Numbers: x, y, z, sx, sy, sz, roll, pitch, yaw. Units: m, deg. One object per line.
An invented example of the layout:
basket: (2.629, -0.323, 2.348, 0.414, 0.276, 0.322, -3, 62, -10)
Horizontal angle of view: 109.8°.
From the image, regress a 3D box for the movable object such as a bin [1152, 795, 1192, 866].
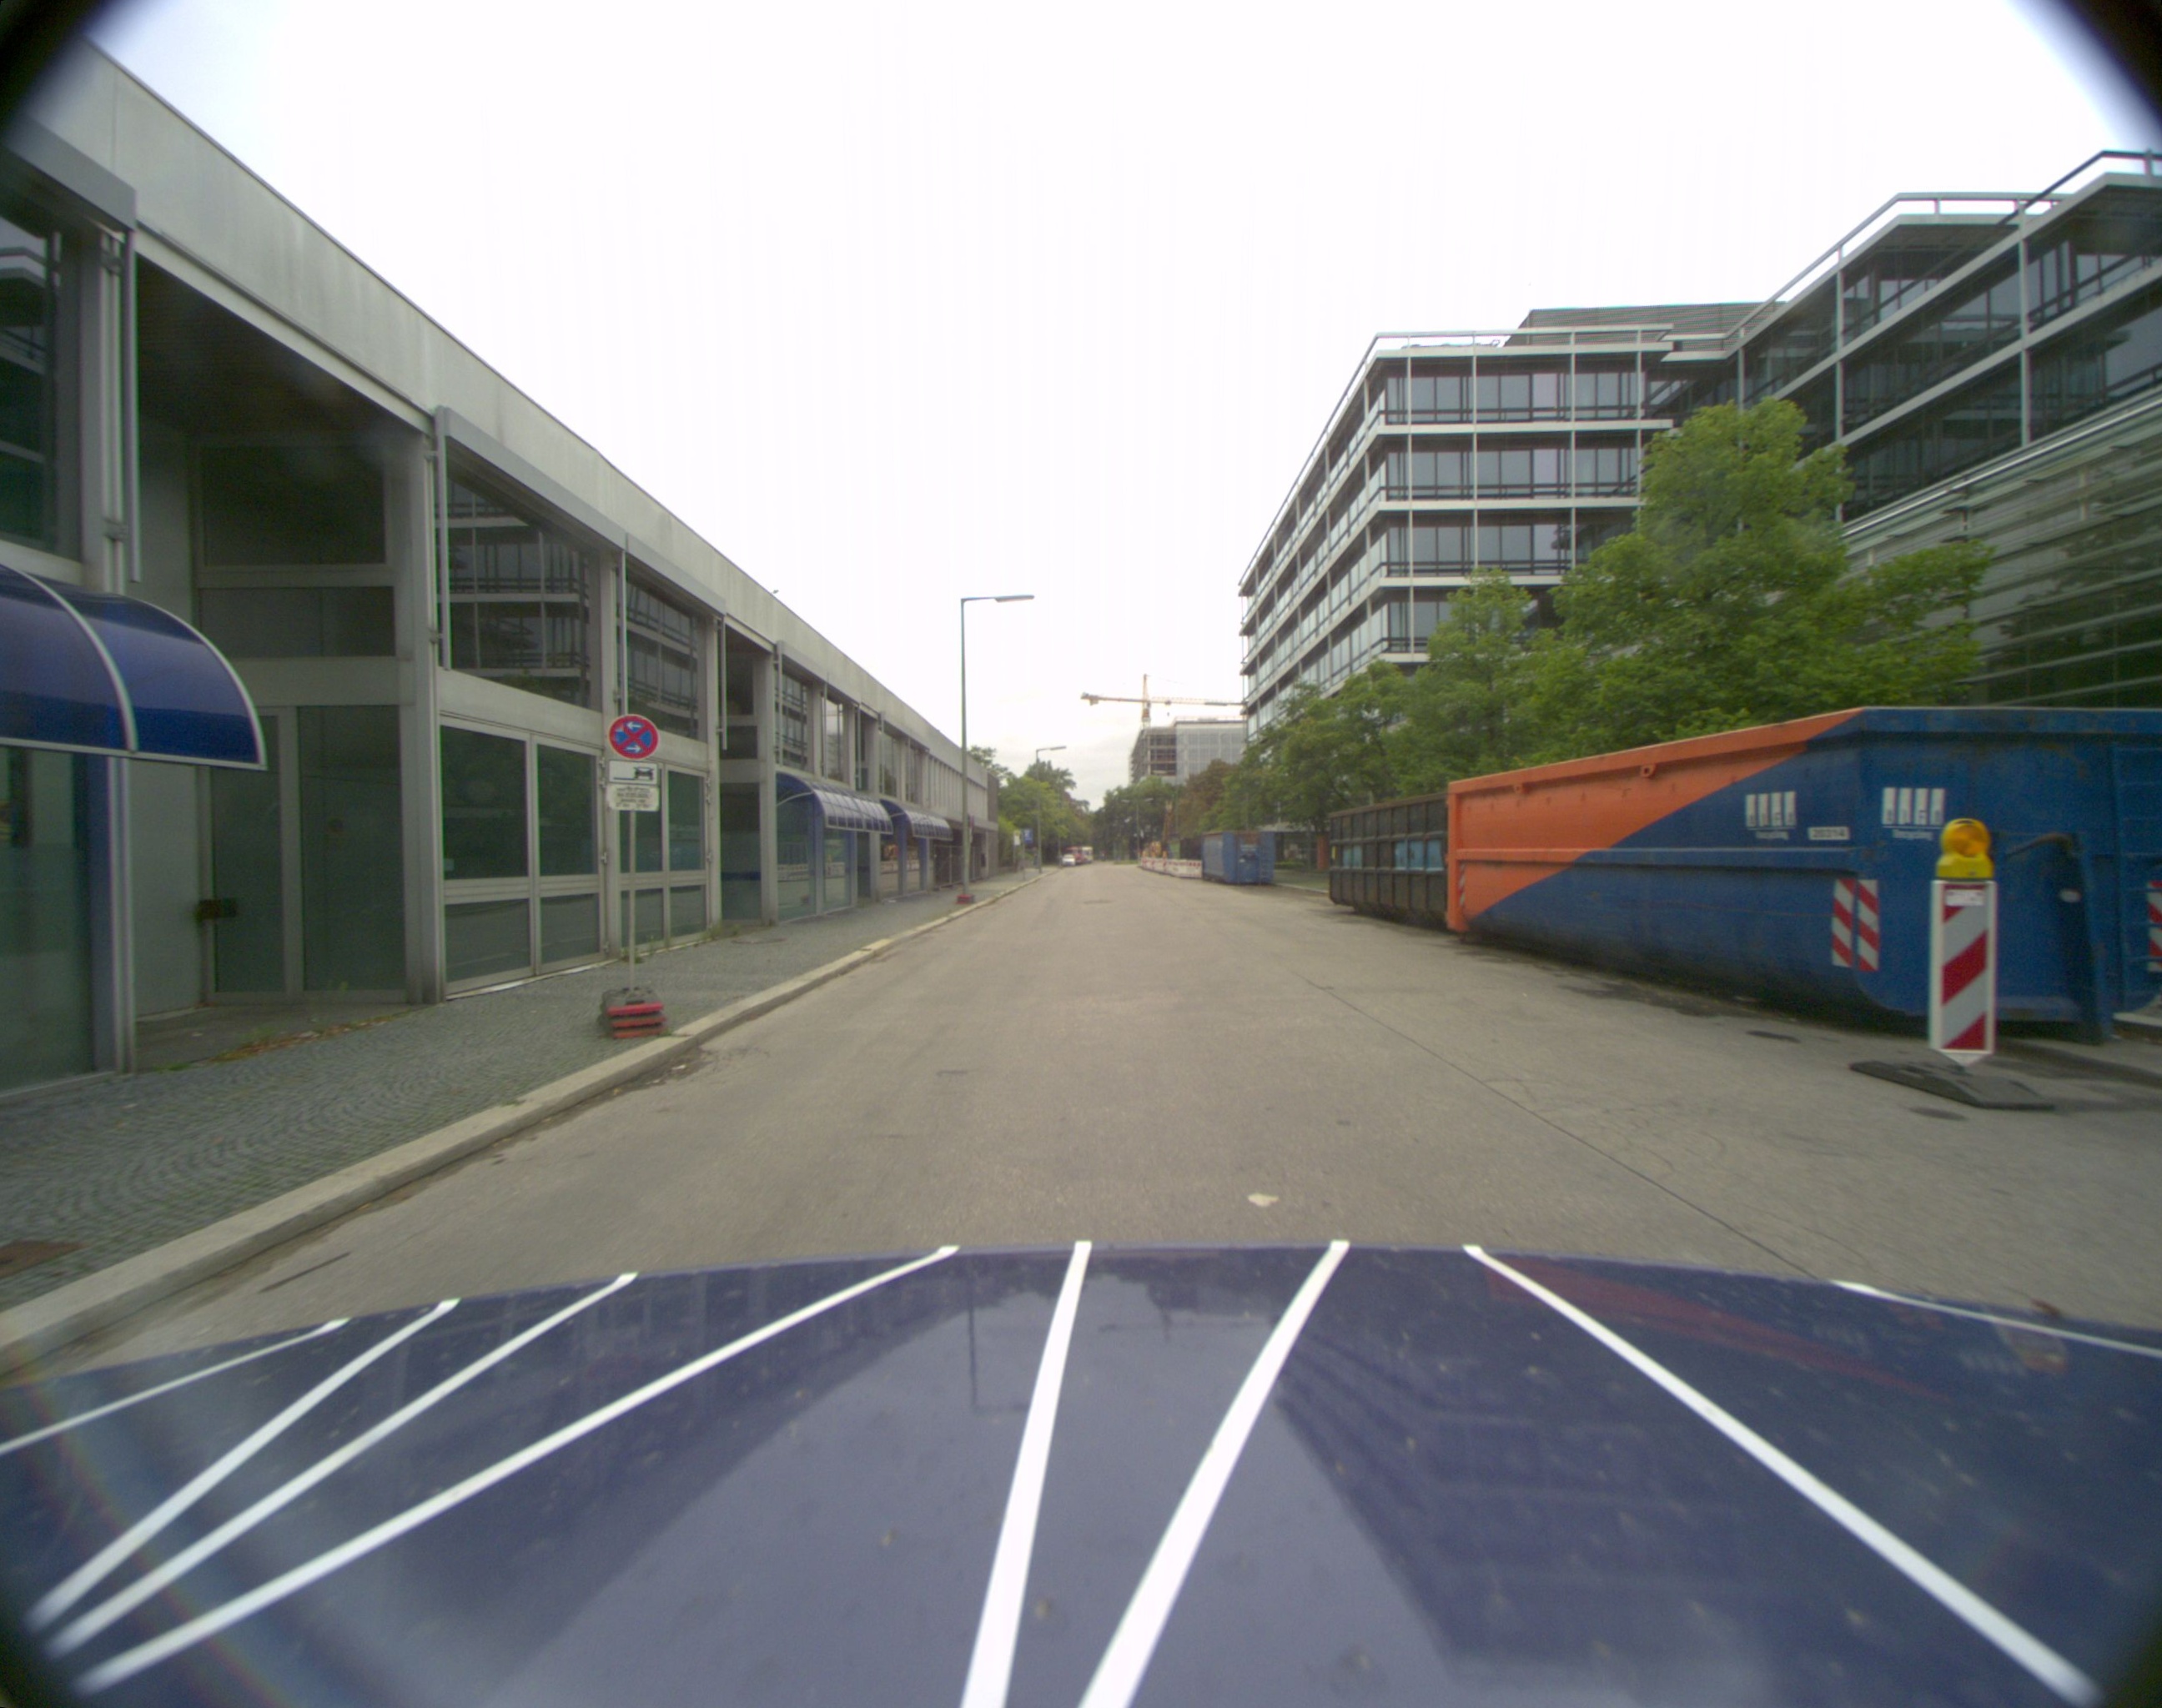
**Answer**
movable object such as a bin: (8.554, -2.113, 72.339, 3.241, 6.286, 8.337, -1, 1, 3)

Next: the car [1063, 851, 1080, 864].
car: (-1.243, 0.406, 98.494, 1.912, 1.627, 4.000, -1, 0, 3)

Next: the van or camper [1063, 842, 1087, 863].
van or camper: (-0.758, -0.212, 104.757, 2.666, 2.751, 6.916, -1, 0, 4)

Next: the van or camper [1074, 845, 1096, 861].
van or camper: (0.682, -0.213, 119.041, 2.665, 2.436, 6.448, -1, 0, 7)
